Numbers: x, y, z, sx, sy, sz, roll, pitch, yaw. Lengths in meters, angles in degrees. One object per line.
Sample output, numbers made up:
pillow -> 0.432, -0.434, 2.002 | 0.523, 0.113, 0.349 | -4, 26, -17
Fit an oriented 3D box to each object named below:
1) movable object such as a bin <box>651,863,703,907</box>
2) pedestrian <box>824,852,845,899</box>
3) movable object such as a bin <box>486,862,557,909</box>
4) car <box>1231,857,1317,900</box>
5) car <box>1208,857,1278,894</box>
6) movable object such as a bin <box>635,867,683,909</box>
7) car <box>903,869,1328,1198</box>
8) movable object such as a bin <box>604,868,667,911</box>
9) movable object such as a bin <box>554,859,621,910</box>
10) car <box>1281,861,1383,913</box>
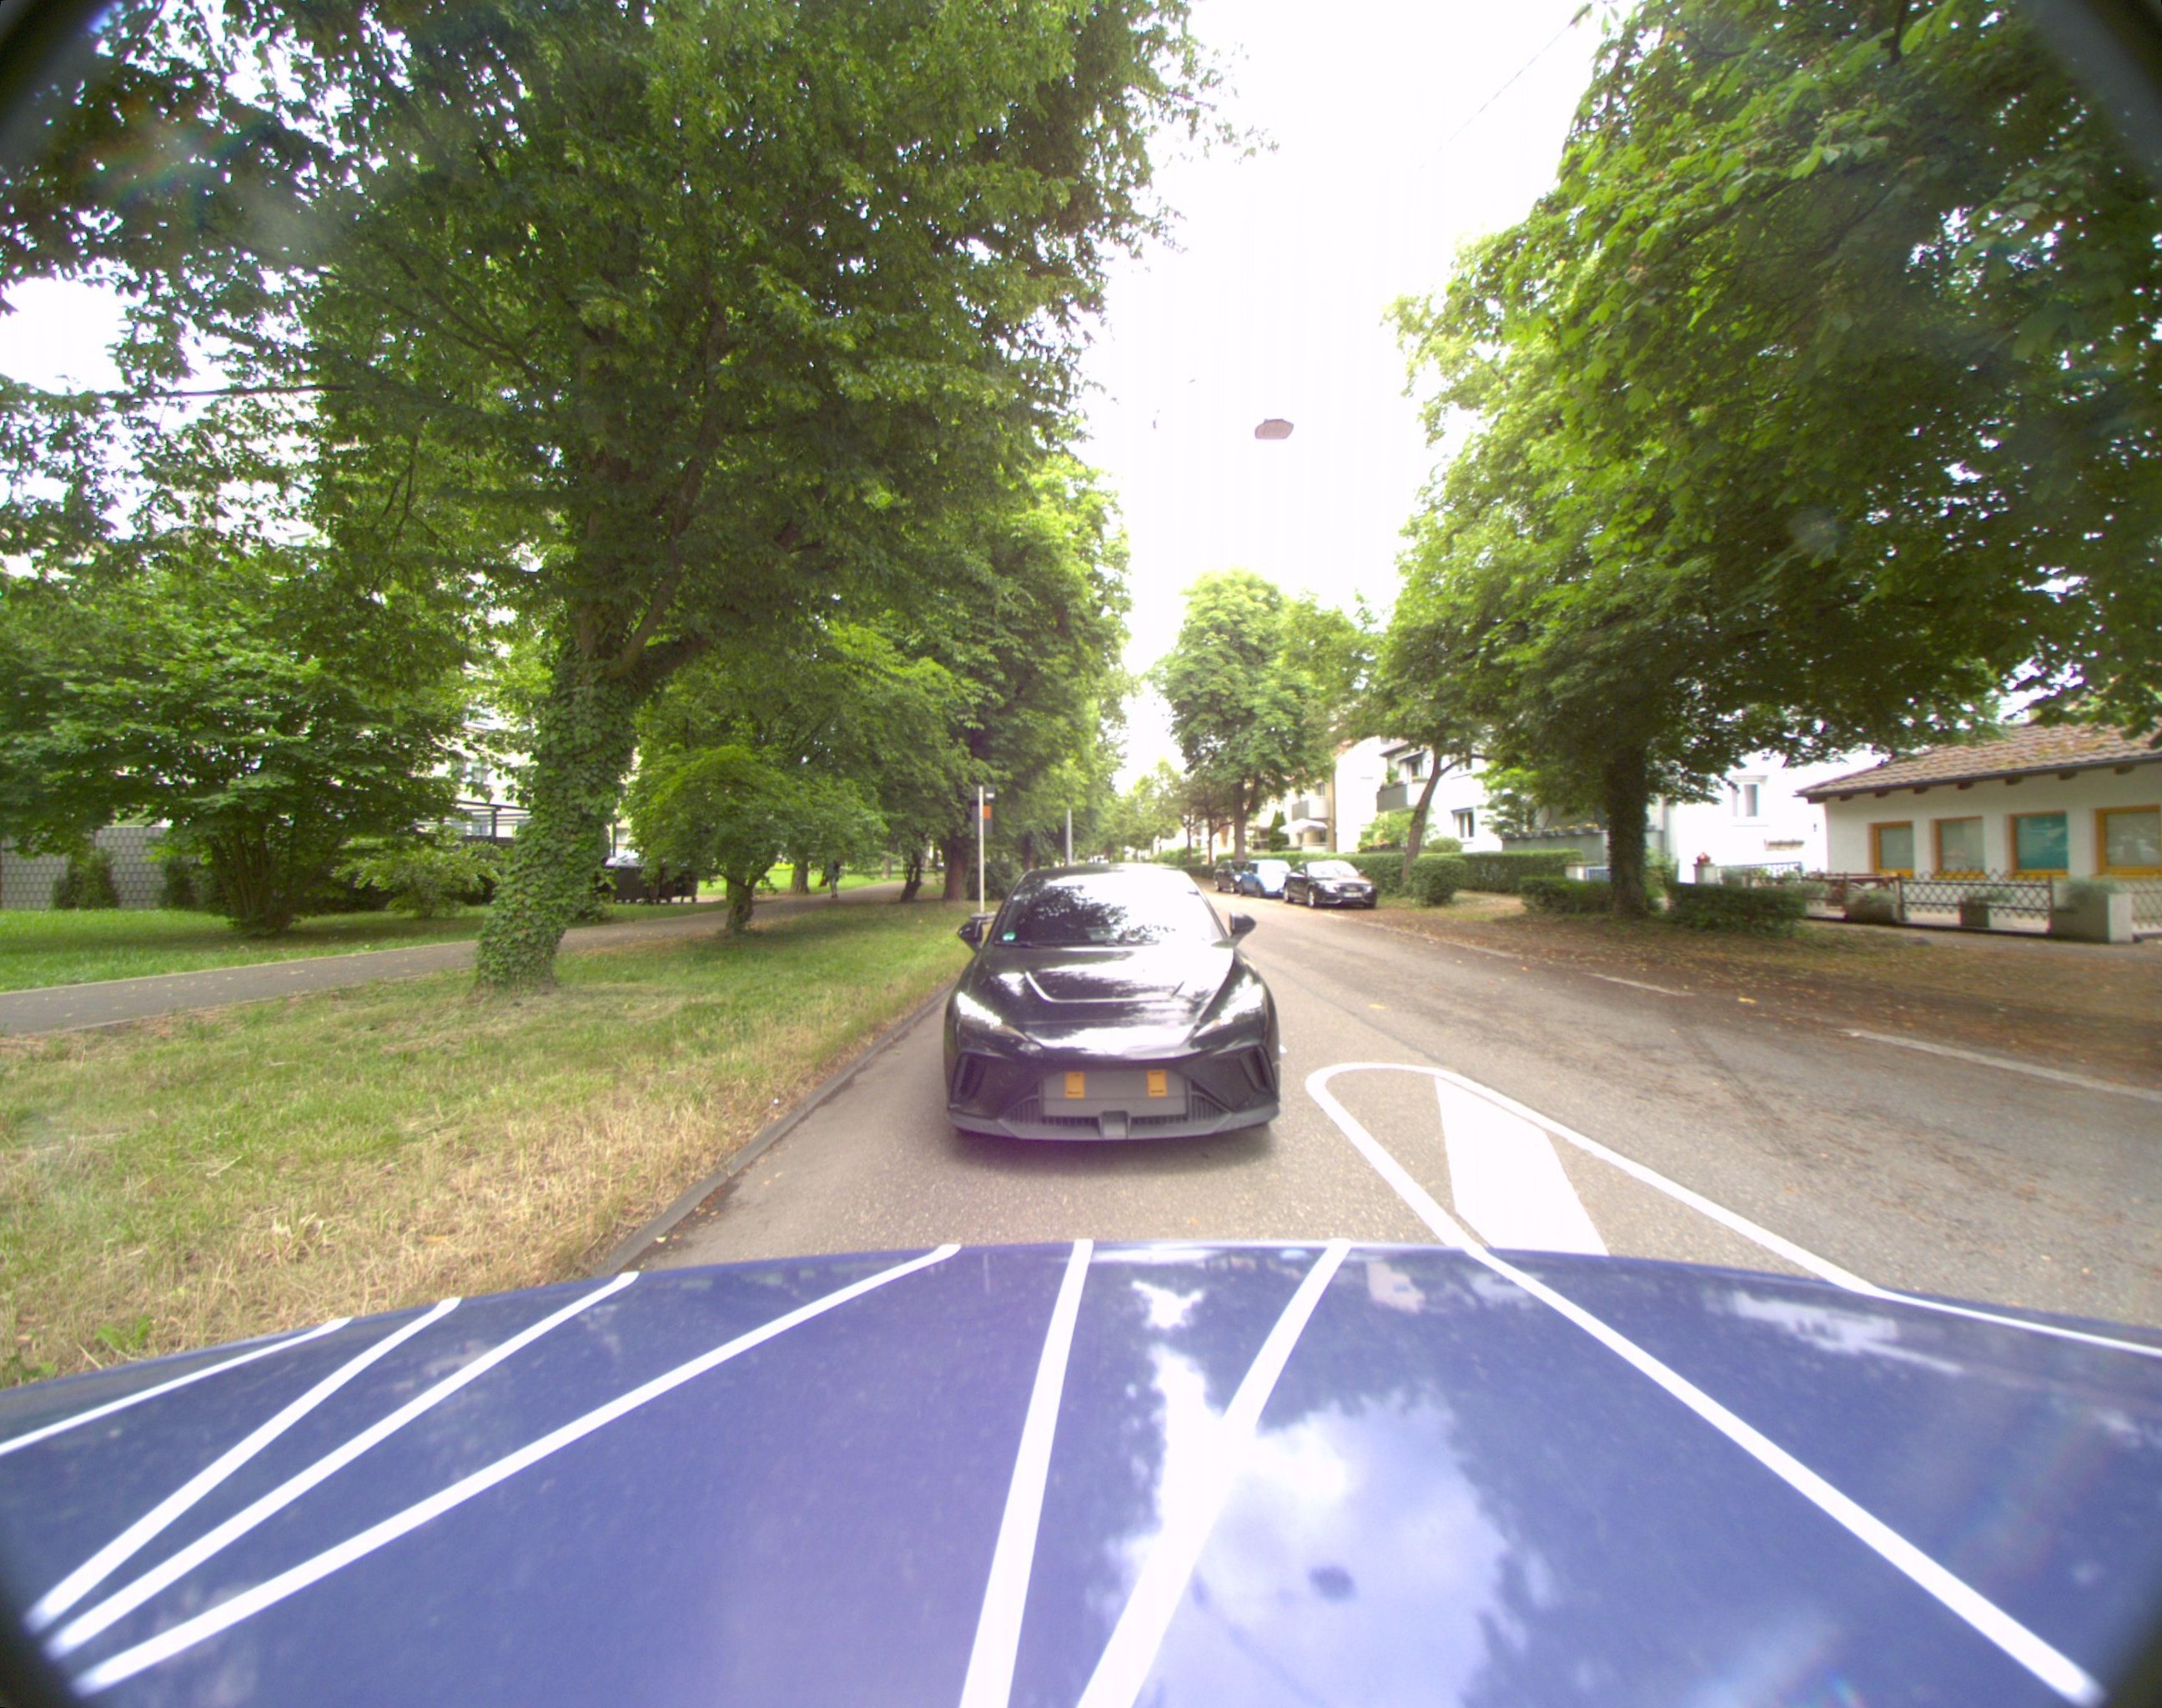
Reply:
movable object such as a bin -> -13.244, 0.989, 24.967 | 1.194, 1.405, 1.110 | 0, 0, -8
pedestrian -> -9.207, 0.782, 28.393 | 0.565, 1.730, 0.570 | 1, 0, 0
movable object such as a bin -> -16.514, 0.897, 22.479 | 1.194, 1.334, 1.348 | 0, 0, -8
car -> 7.206, 0.884, 28.895 | 1.889, 1.492, 4.565 | 0, 0, -3
car -> 7.075, 0.887, 33.648 | 1.889, 1.524, 4.565 | 0, 0, -3
movable object such as a bin -> -13.241, 1.049, 23.873 | 1.026, 1.296, 0.960 | 0, 0, -8
car -> 0.186, 0.895, 5.895 | 1.998, 1.491, 4.615 | 0, 0, 1
movable object such as a bin -> -13.256, 1.029, 22.674 | 1.194, 1.213, 1.348 | 0, 0, -8
movable object such as a bin -> -14.573, 0.873, 22.482 | 1.194, 1.448, 1.348 | 0, 0, -8
car -> 7.405, 0.919, 22.873 | 1.735, 1.394, 4.172 | 0, 0, 1
